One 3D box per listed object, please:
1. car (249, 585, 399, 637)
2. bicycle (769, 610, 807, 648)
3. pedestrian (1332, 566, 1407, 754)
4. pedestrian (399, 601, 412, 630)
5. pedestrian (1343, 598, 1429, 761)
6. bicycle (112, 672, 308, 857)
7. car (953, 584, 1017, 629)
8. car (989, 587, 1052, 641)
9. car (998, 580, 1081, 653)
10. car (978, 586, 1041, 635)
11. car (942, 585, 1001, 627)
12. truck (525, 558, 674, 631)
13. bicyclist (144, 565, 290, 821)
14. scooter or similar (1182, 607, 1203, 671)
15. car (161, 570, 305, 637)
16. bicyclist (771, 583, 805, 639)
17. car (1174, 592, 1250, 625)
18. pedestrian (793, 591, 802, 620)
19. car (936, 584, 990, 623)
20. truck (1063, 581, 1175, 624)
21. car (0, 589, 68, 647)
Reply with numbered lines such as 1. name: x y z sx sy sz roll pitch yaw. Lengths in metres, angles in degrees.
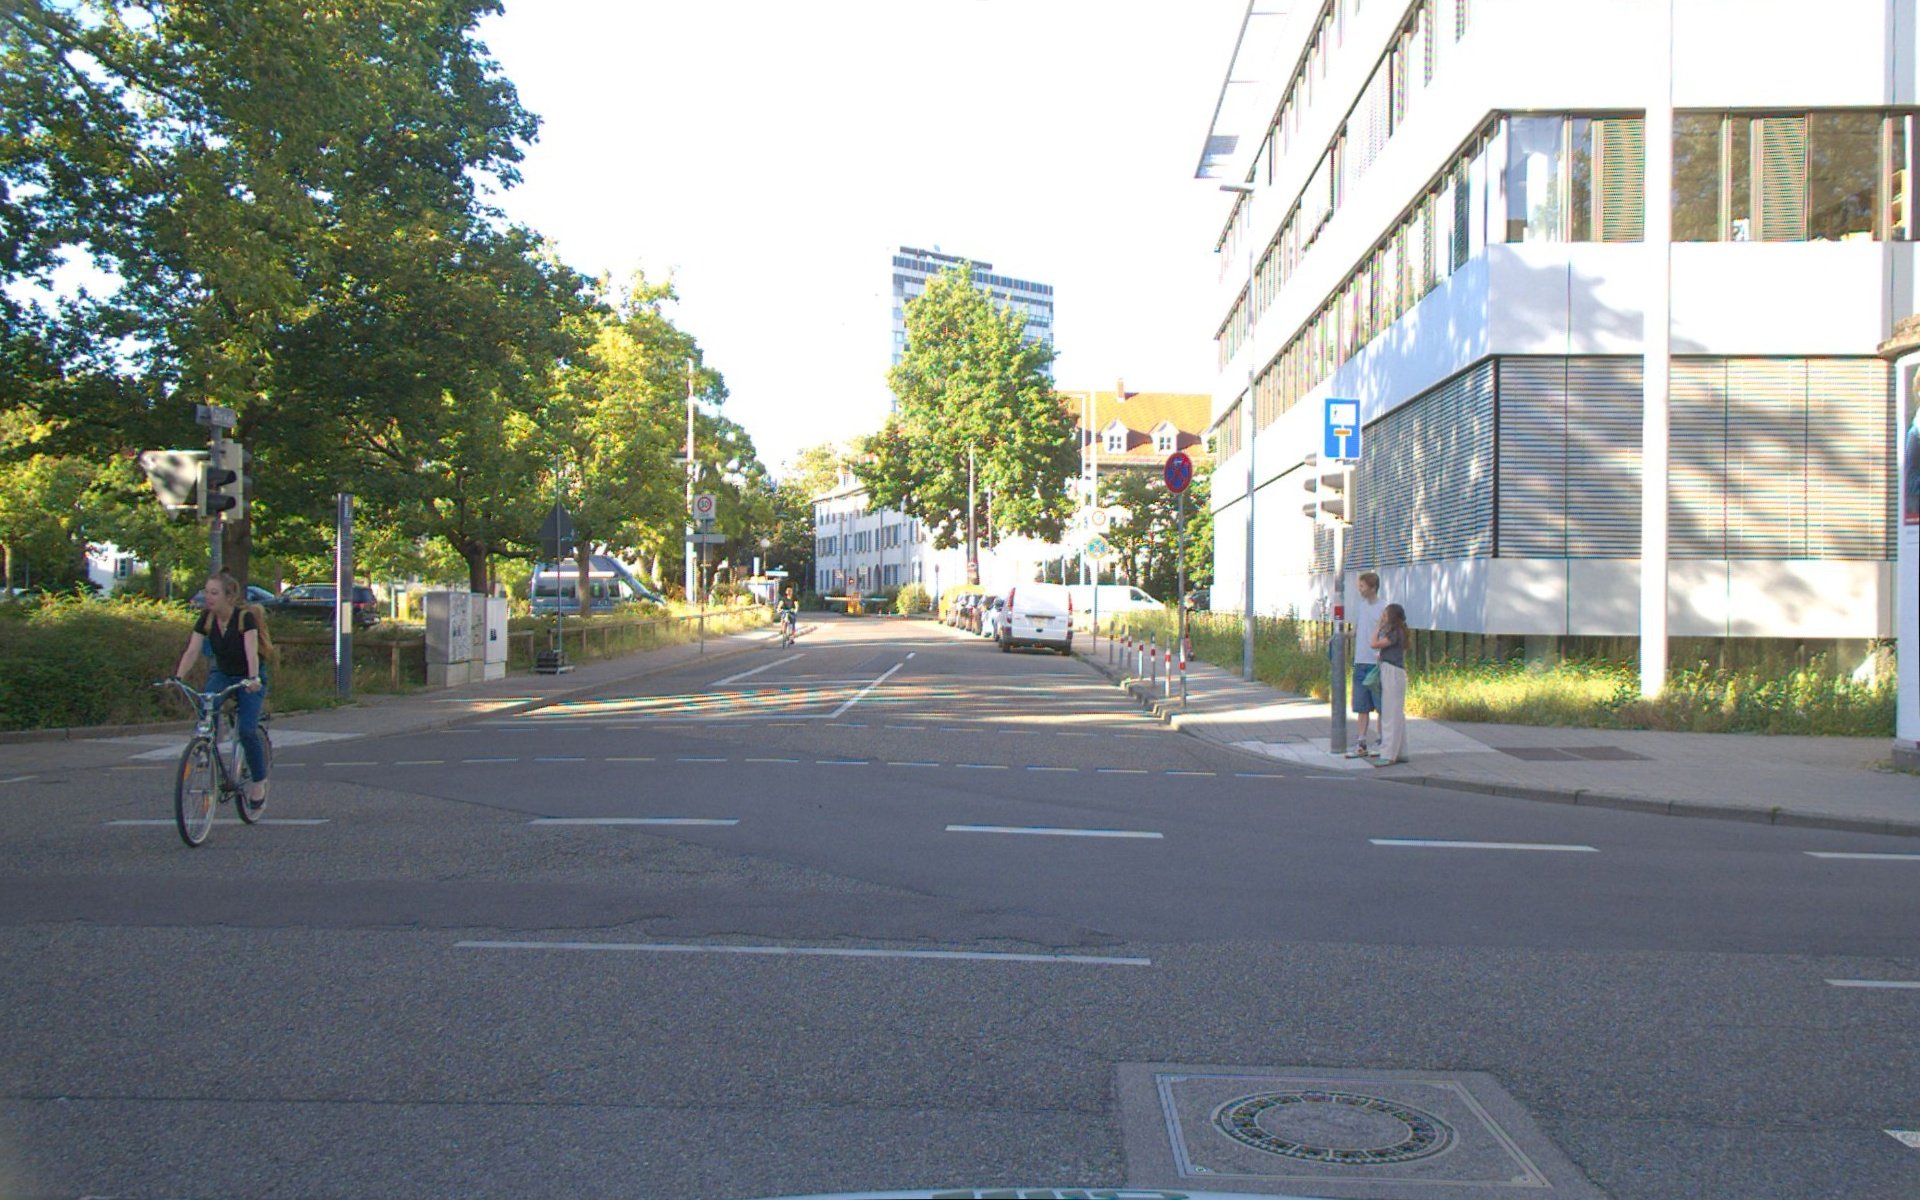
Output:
1. car: -22.394 0.394 58.384 4.461 1.760 2.074 -1 0 1
2. bicycle: -4.945 0.827 47.691 0.848 1.027 2.413 -2 0 -1
3. pedestrian: 4.240 0.611 17.124 0.548 1.883 0.677 -3 0 26
4. pedestrian: -25.903 0.705 77.316 0.549 1.347 0.575 0 0 -16
5. pedestrian: 4.243 0.775 16.507 0.549 1.567 0.675 -3 0 -8
6. bicycle: -4.728 0.996 10.552 0.604 0.987 1.838 0 0 -7
7. car: 0.966 0.234 66.210 1.853 1.684 4.407 1 1 -8
8. car: 1.912 0.405 53.224 1.850 1.583 4.415 1 1 0
9. car: 2.111 0.397 45.004 2.042 1.827 4.415 1 1 0
10. car: 1.714 0.346 58.716 1.851 1.583 4.413 1 1 -3
11. car: 0.464 0.233 71.284 1.853 1.684 4.407 1 1 -8
12. truck: -12.579 -0.199 57.964 4.729 2.441 2.087 1 0 0
13. bicyclist: -4.726 0.564 10.566 0.604 1.559 0.902 0 0 -7
14. scooter or similar: 5.343 0.888 38.020 0.323 1.449 1.335 2 0 4
15. car: -27.421 0.148 62.481 4.461 2.433 2.074 -1 -1 1
16. bicyclist: -4.954 0.314 47.710 0.848 1.542 1.019 -2 0 -1
17. car: 12.646 0.435 83.160 3.489 1.573 1.555 1 0 -9
18. pedestrian: -9.601 0.327 97.533 0.535 1.706 0.475 0 0 -7
19. car: 0.093 0.142 76.455 1.853 1.684 4.407 1 1 -8
20. truck: 7.924 0.114 82.773 5.239 2.049 1.996 1 0 -9
21. car: -30.610 0.590 51.540 4.461 1.760 2.074 -1 0 1
